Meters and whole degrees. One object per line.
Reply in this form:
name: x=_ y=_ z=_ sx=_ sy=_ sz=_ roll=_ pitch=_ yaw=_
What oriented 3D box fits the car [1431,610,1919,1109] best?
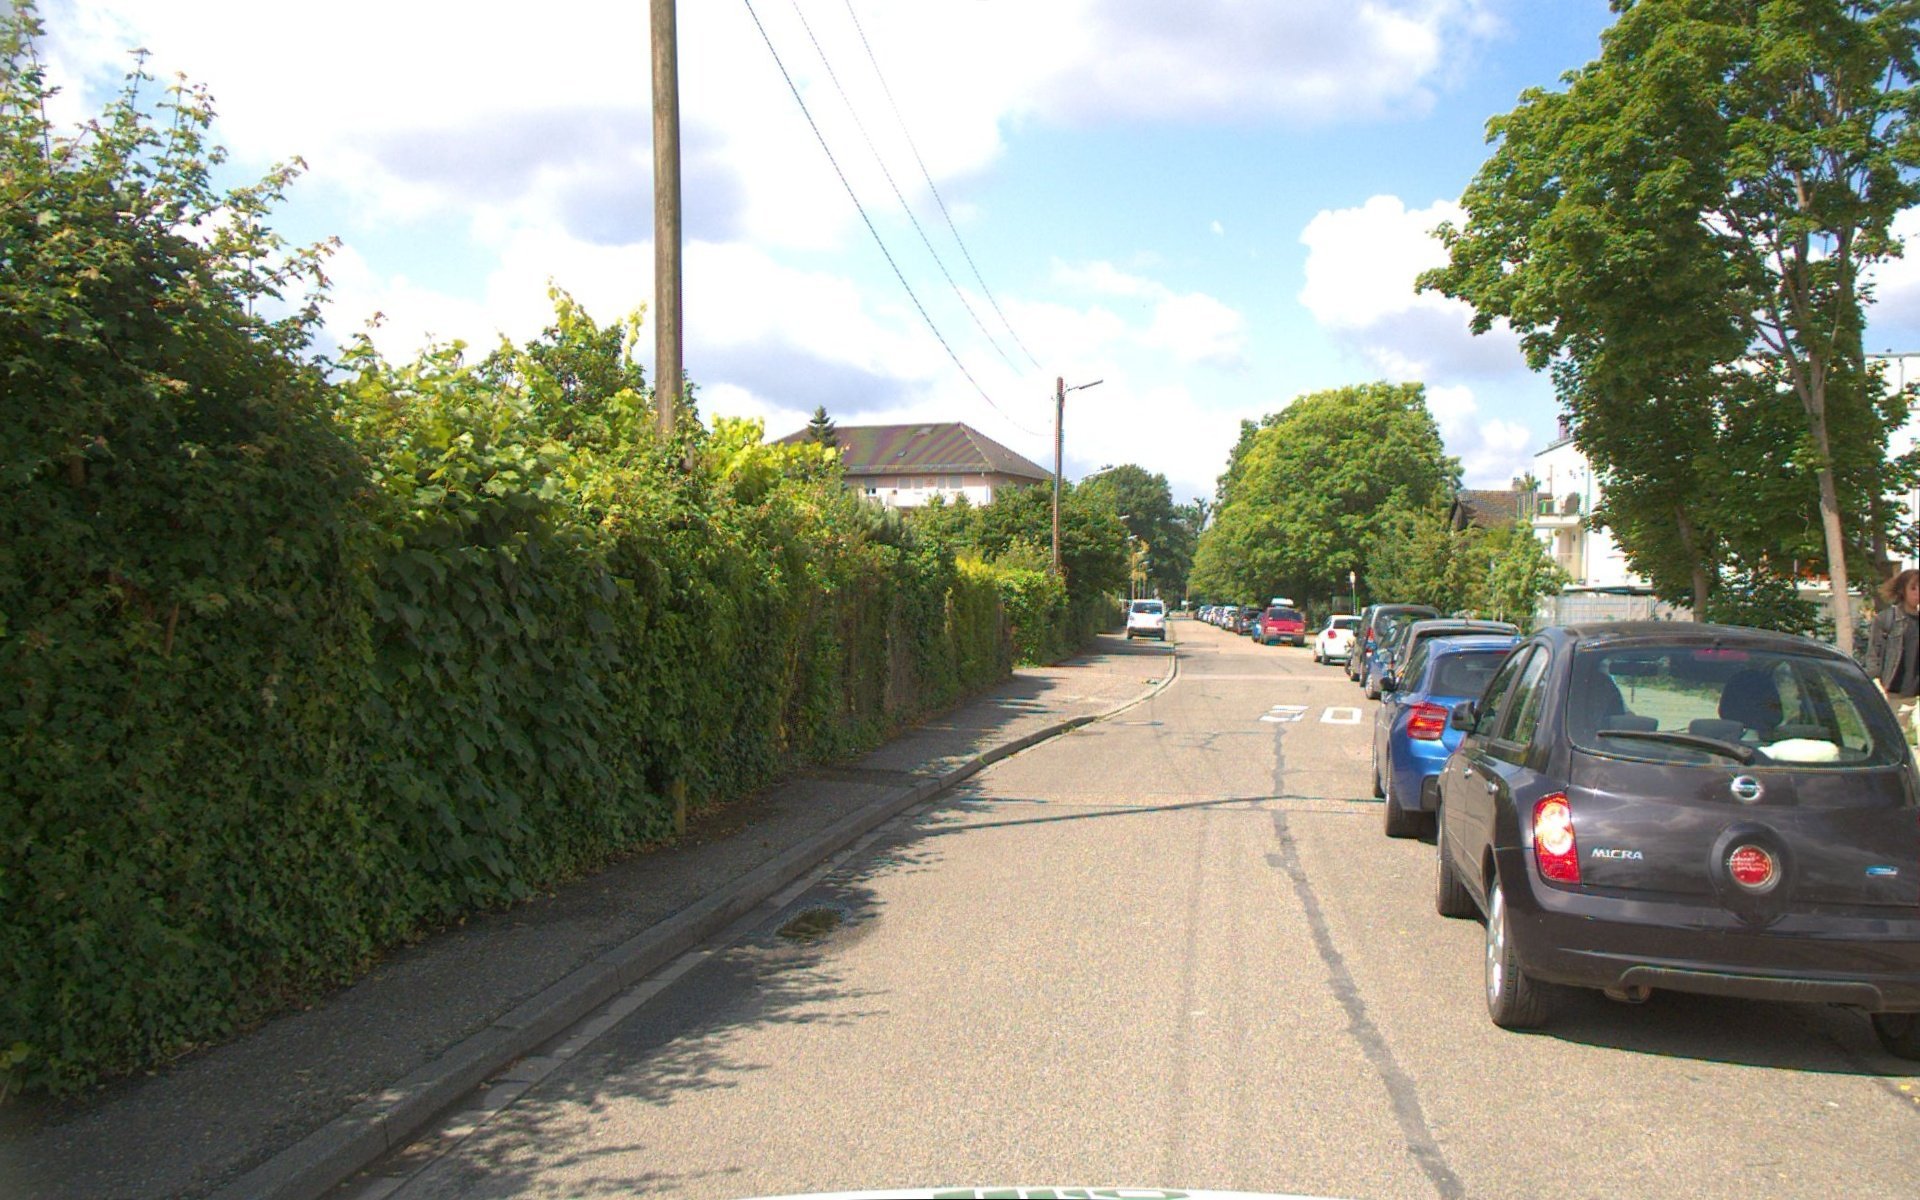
car: x=3.085 y=0.857 z=7.287 sx=1.628 sy=1.532 sz=4.003 roll=2 pitch=0 yaw=12

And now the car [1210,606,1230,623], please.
car: x=26.487 y=1.470 z=168.424 sx=1.812 sy=1.646 sz=4.003 roll=2 pitch=0 yaw=12

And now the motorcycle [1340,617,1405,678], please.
motorcycle: x=9.923 y=1.140 z=39.849 sx=1.397 sy=1.385 sz=0.870 roll=2 pitch=-1 yaw=9

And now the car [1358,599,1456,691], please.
car: x=9.713 y=0.964 z=36.151 sx=1.834 sy=1.838 sz=3.435 roll=2 pitch=0 yaw=12

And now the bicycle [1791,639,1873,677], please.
bicycle: x=25.499 y=1.693 z=48.385 sx=2.003 sy=1.098 sz=0.688 roll=-1 pitch=-1 yaw=11

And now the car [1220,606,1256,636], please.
car: x=16.699 y=1.275 z=99.377 sx=2.014 sy=1.681 sz=4.544 roll=2 pitch=0 yaw=10

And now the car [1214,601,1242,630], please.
car: x=20.163 y=1.174 z=124.345 sx=2.014 sy=1.996 sz=4.544 roll=2 pitch=0 yaw=10

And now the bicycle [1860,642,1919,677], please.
bicycle: x=29.829 y=1.886 z=52.584 sx=2.003 sy=1.098 sz=0.688 roll=-1 pitch=-1 yaw=11

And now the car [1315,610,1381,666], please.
car: x=11.544 y=1.110 z=49.429 sx=1.643 sy=1.545 sz=4.003 roll=2 pitch=0 yaw=10

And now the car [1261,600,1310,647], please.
car: x=14.684 y=1.047 z=74.793 sx=2.014 sy=1.960 sz=4.544 roll=2 pitch=0 yaw=10

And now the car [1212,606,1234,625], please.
car: x=24.448 y=1.445 z=153.773 sx=1.812 sy=1.646 sz=4.003 roll=1 pitch=-1 yaw=12

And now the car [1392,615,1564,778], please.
car: x=5.757 y=1.006 z=18.712 sx=1.628 sy=1.579 sz=3.639 roll=2 pitch=0 yaw=14

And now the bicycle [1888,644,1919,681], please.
bicycle: x=29.382 y=1.880 z=50.171 sx=2.003 sy=1.098 sz=0.688 roll=-1 pitch=-1 yaw=11

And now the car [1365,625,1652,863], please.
car: x=4.088 y=0.963 z=12.908 sx=1.628 sy=1.465 sz=4.210 roll=2 pitch=0 yaw=12

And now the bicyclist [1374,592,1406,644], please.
bicyclist: x=15.389 y=0.655 z=59.183 sx=0.773 sy=1.817 sz=0.889 roll=2 pitch=-1 yaw=40

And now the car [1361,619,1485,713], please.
car: x=8.046 y=1.104 z=28.988 sx=1.628 sy=1.460 sz=3.544 roll=2 pitch=0 yaw=8

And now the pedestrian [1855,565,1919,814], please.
pedestrian: x=7.018 y=0.655 z=12.197 sx=0.598 sy=1.776 sz=0.722 roll=2 pitch=-1 yaw=21

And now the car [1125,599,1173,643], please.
car: x=8.667 y=0.954 z=75.600 sx=1.862 sy=1.846 sz=4.003 roll=2 pitch=0 yaw=10

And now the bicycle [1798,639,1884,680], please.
bicycle: x=24.967 y=1.699 z=46.882 sx=2.044 sy=1.139 sz=0.625 roll=-1 pitch=-1 yaw=12
